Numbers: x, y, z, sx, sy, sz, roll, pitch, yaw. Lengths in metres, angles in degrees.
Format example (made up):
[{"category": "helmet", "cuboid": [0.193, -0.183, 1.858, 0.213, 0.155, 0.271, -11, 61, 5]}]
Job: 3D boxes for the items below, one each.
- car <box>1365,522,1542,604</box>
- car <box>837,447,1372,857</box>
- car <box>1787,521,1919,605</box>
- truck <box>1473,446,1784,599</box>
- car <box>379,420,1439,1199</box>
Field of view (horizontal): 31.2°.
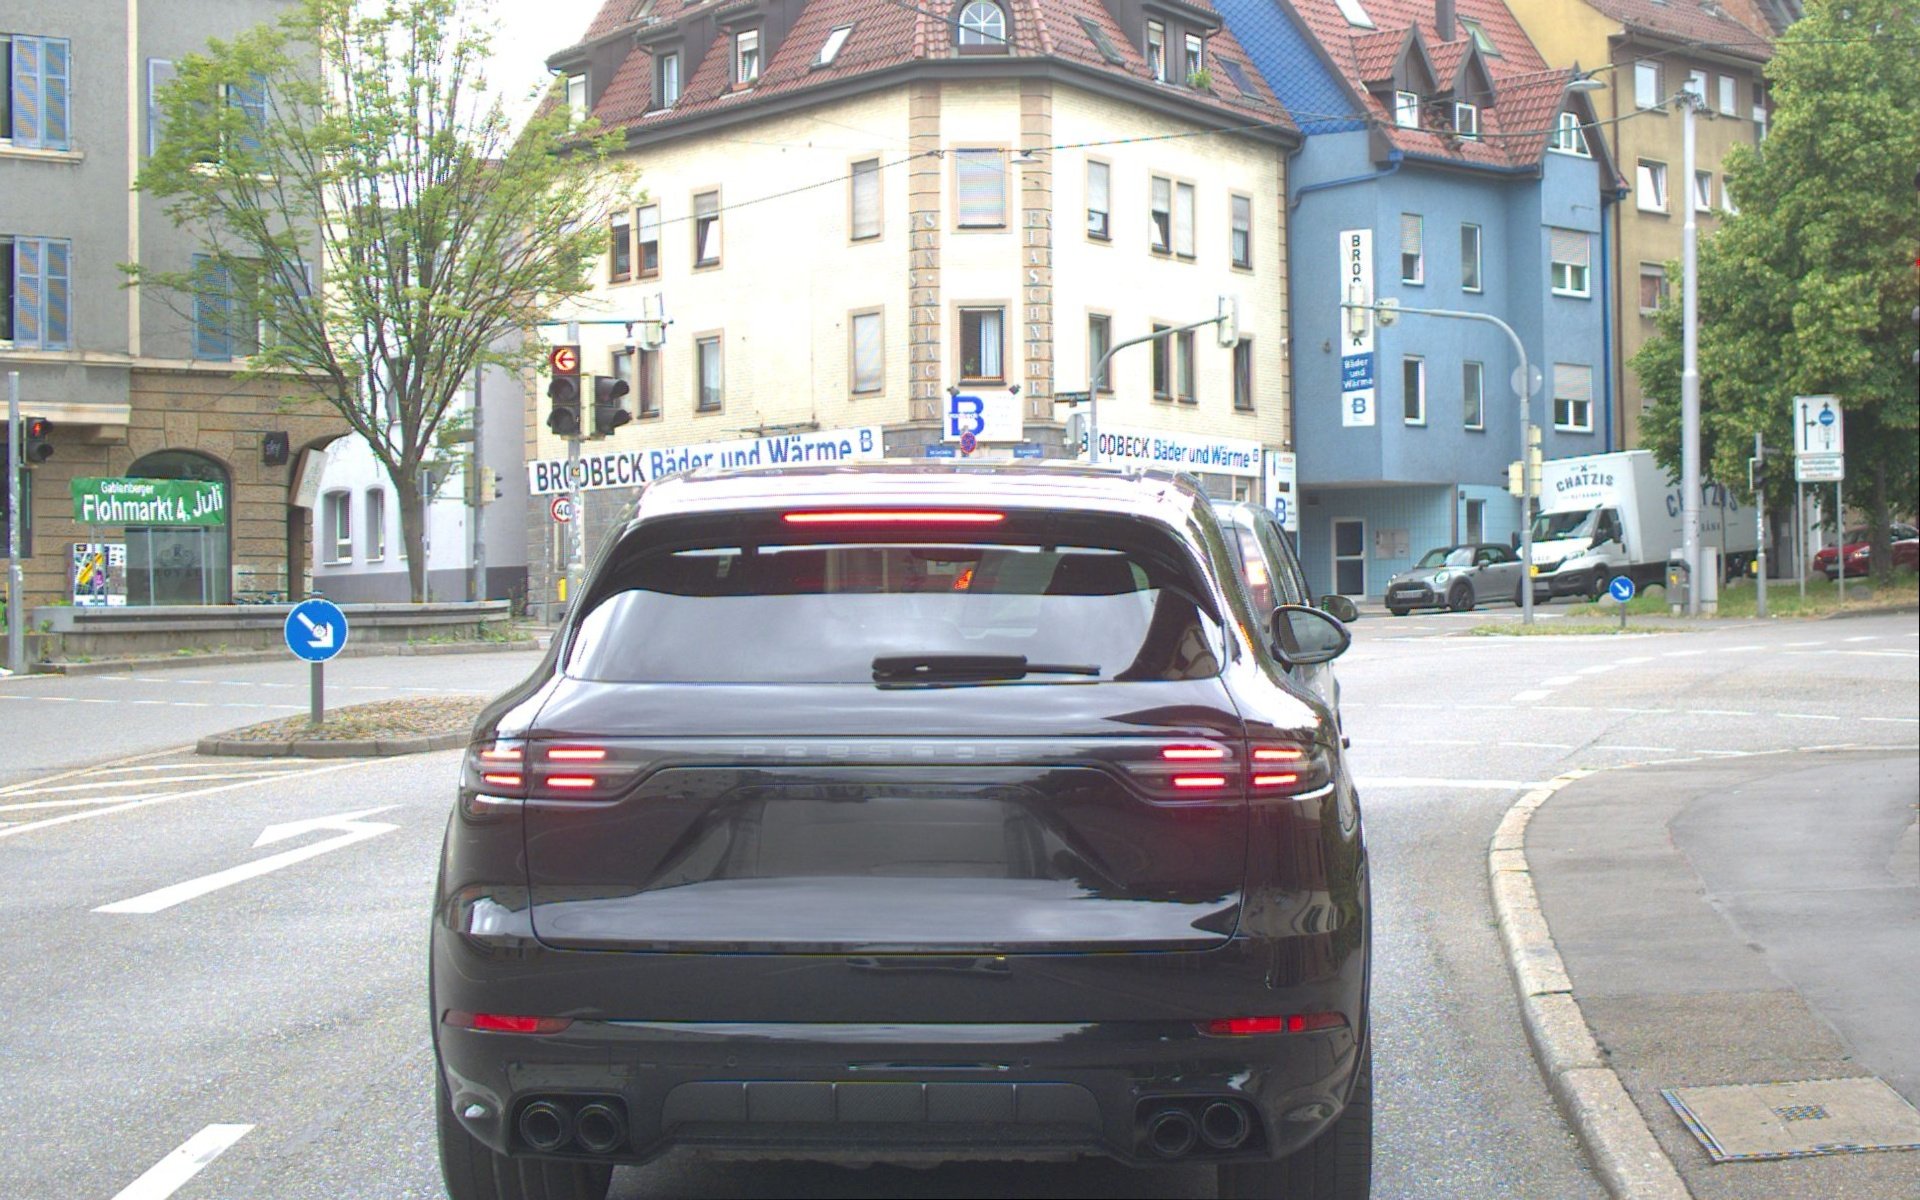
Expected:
[{"category": "car", "cuboid": [10.478, -0.794, 72.854, 1.998, 1.678, 3.991, 1, 1, 38]}, {"category": "car", "cuboid": [0.820, 0.184, 16.196, 1.994, 1.678, 3.998, 0, 1, 10]}, {"category": "car", "cuboid": [23.001, -0.928, 87.517, 1.999, 2.007, 3.990, 2, 1, 43]}, {"category": "truck", "cuboid": [15.581, -1.742, 79.631, 2.880, 3.328, 8.772, 2, 1, 42]}, {"category": "car", "cuboid": [-0.197, 0.448, 8.424, 1.978, 1.678, 4.001, 0, 2, -3]}]
